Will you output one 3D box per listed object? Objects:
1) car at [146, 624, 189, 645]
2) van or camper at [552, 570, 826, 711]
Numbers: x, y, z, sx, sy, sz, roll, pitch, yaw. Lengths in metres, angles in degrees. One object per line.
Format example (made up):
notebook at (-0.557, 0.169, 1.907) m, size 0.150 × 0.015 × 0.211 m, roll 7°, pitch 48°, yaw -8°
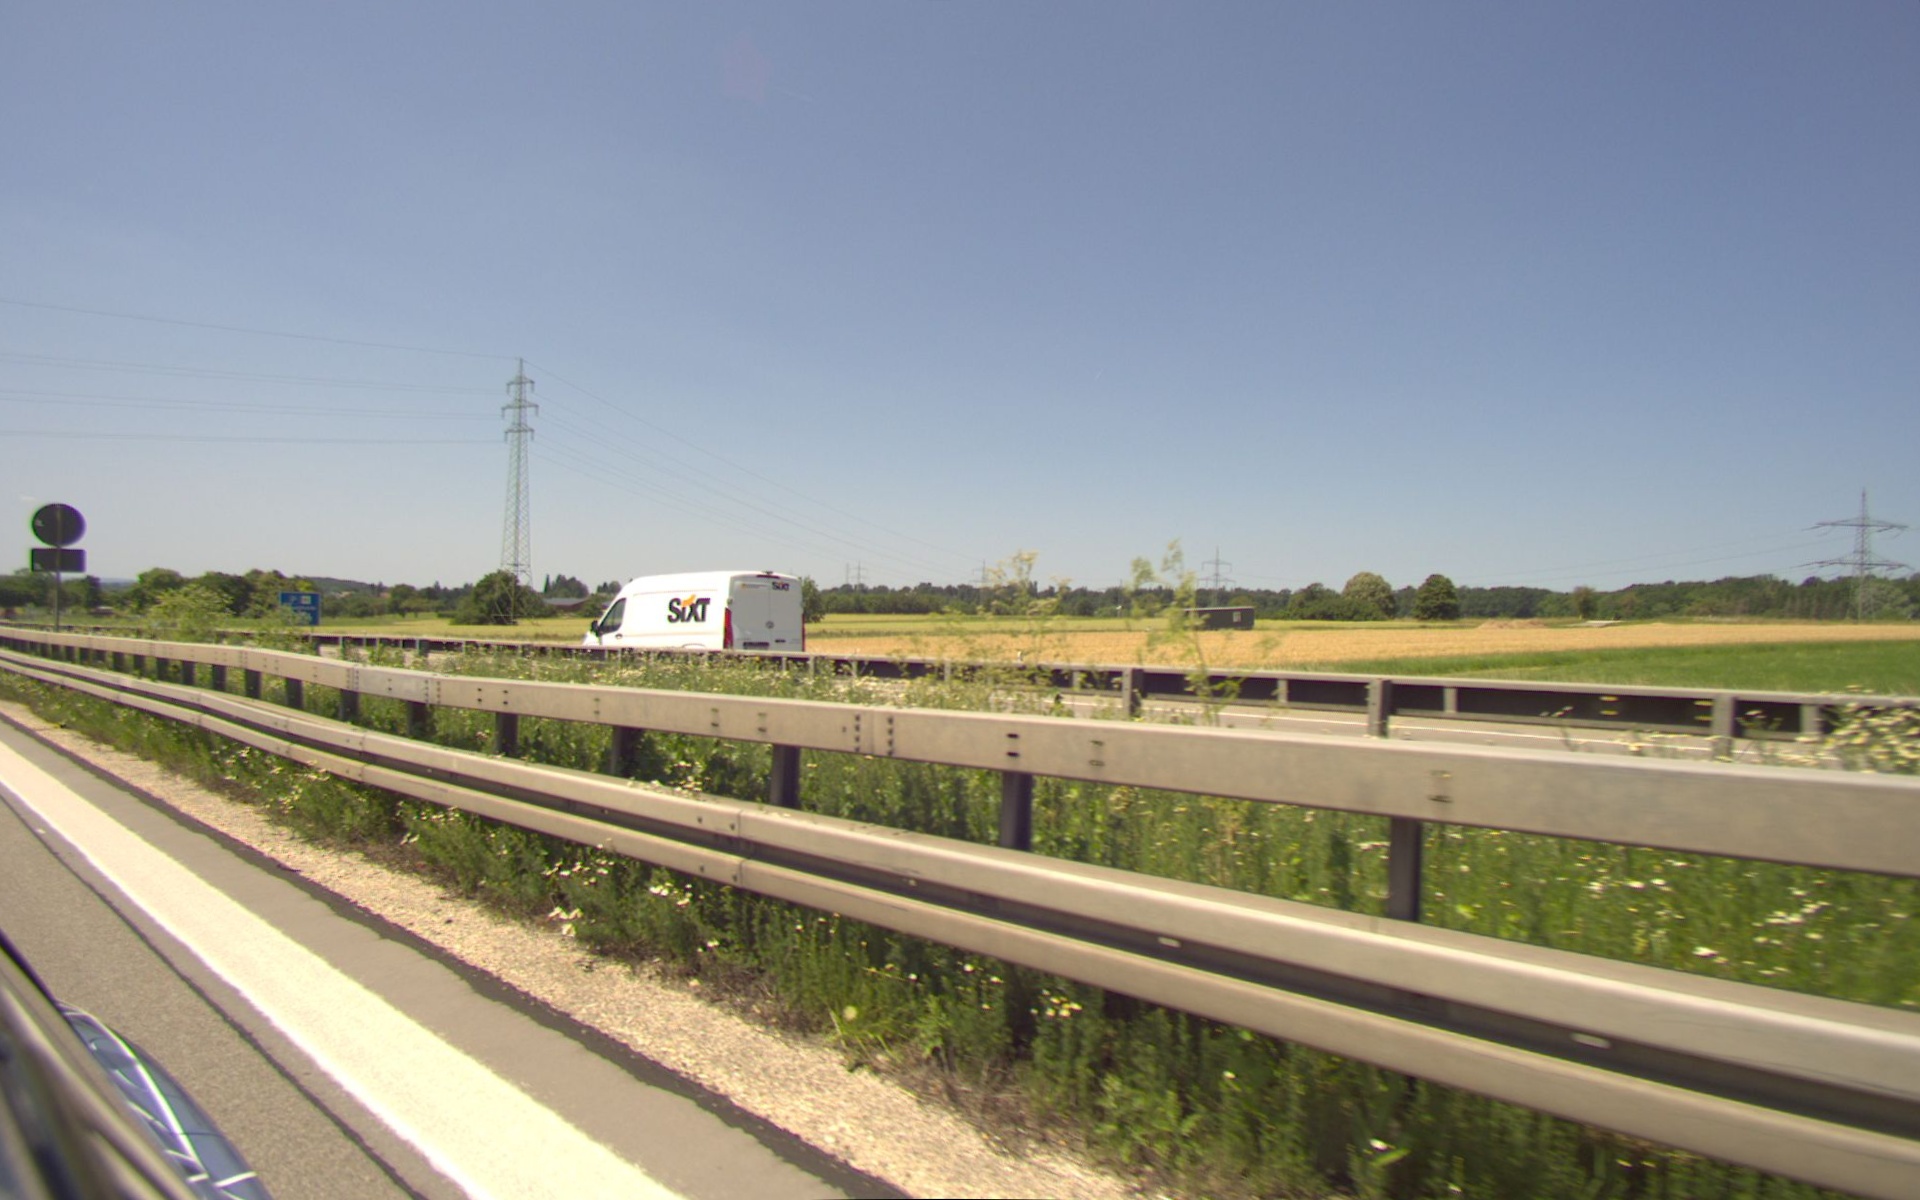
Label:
car at (-53.783, 2.319, 68.625) m, size 4.039 × 1.316 × 1.557 m, roll -1°, pitch -2°, yaw 41°
van or camper at (-5.833, 0.742, 21.097) m, size 6.594 × 2.527 × 2.204 m, roll -1°, pitch 0°, yaw 41°
